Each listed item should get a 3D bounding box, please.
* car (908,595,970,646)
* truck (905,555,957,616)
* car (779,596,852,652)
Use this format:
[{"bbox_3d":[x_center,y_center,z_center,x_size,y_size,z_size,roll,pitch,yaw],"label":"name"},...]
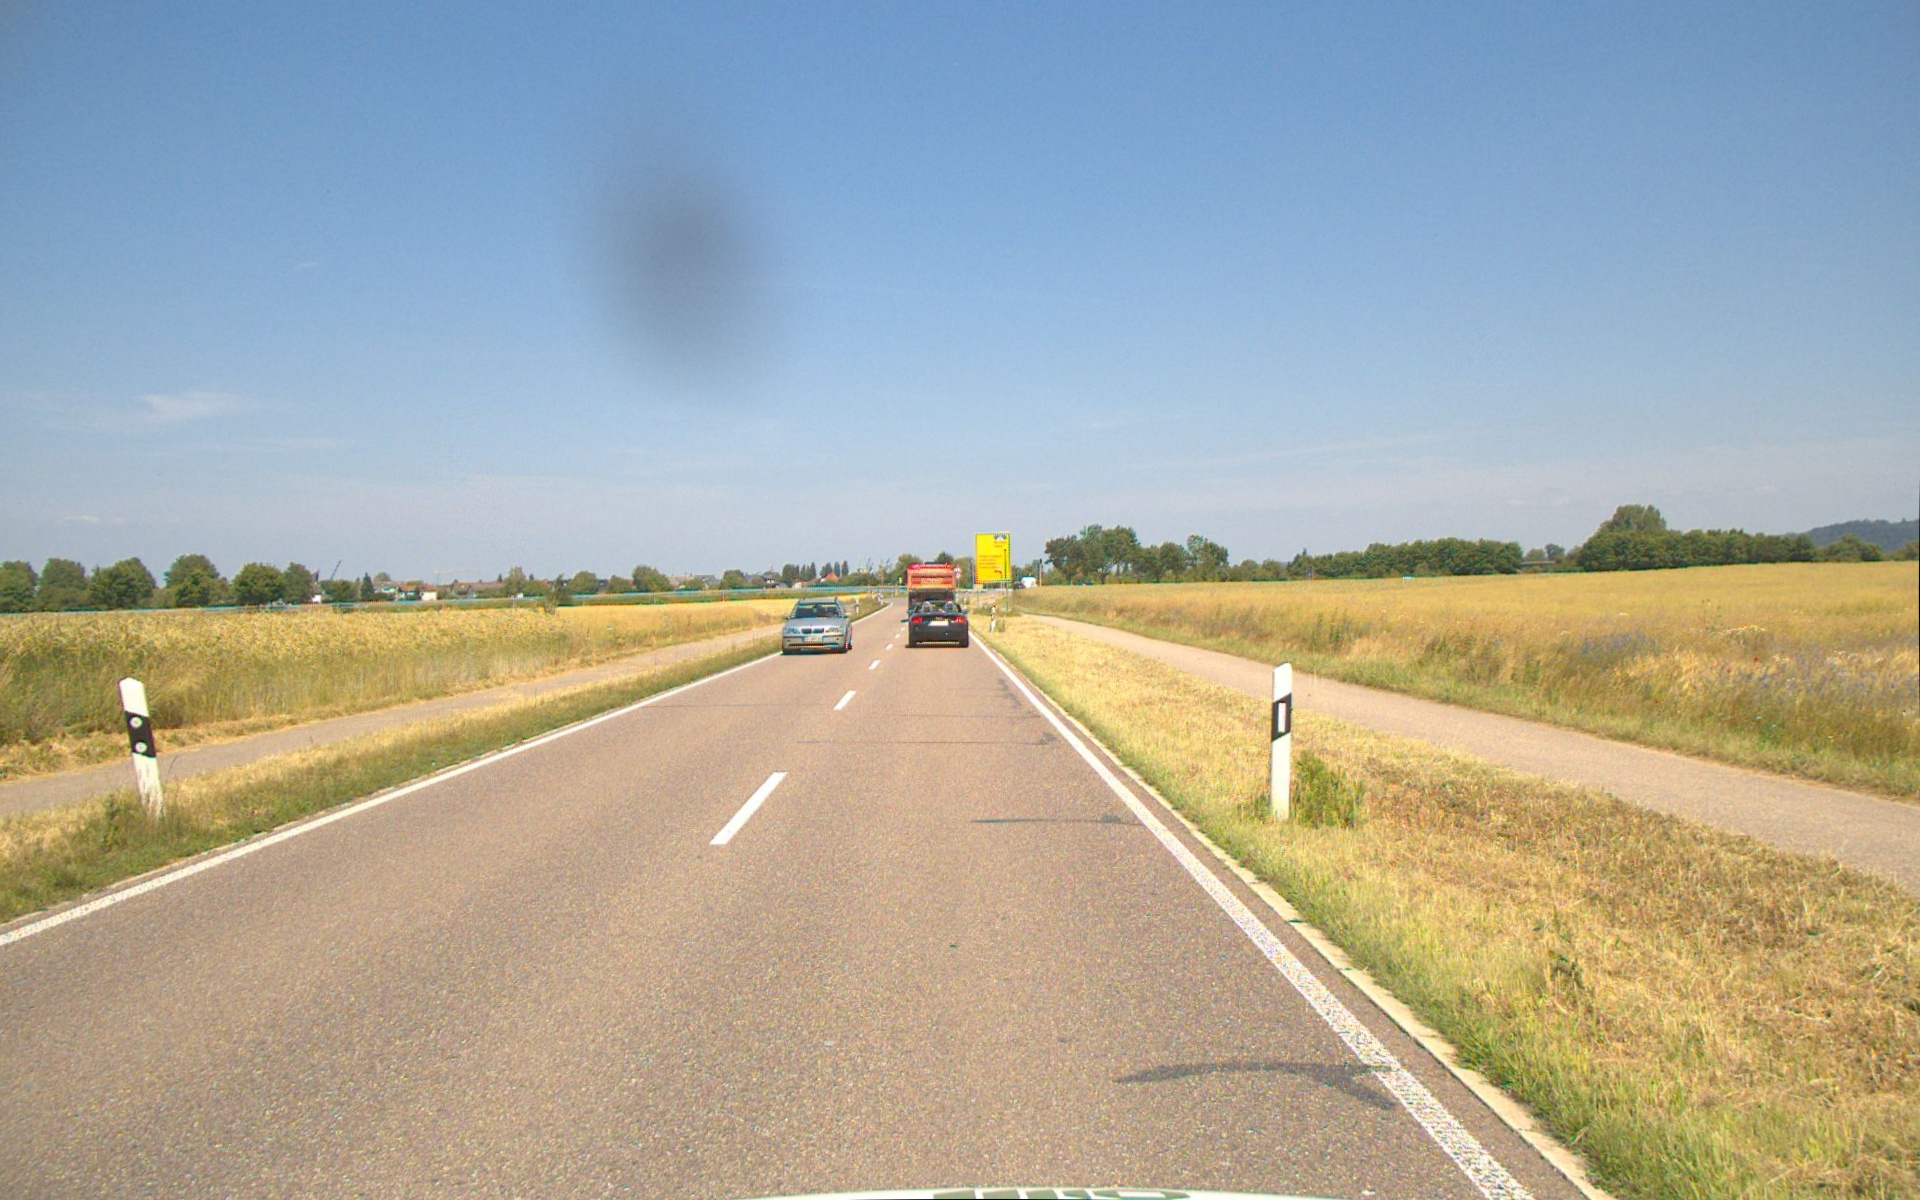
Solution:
[{"bbox_3d":[-0.609,0.586,47.600,1.712,1.400,3.678,1,0,-1],"label":"car"},{"bbox_3d":[-1.582,-0.720,88.908,2.659,3.106,8.162,0,0,-1],"label":"truck"},{"bbox_3d":[-3.862,0.636,44.742,1.712,1.425,4.031,0,0,-1],"label":"car"}]
